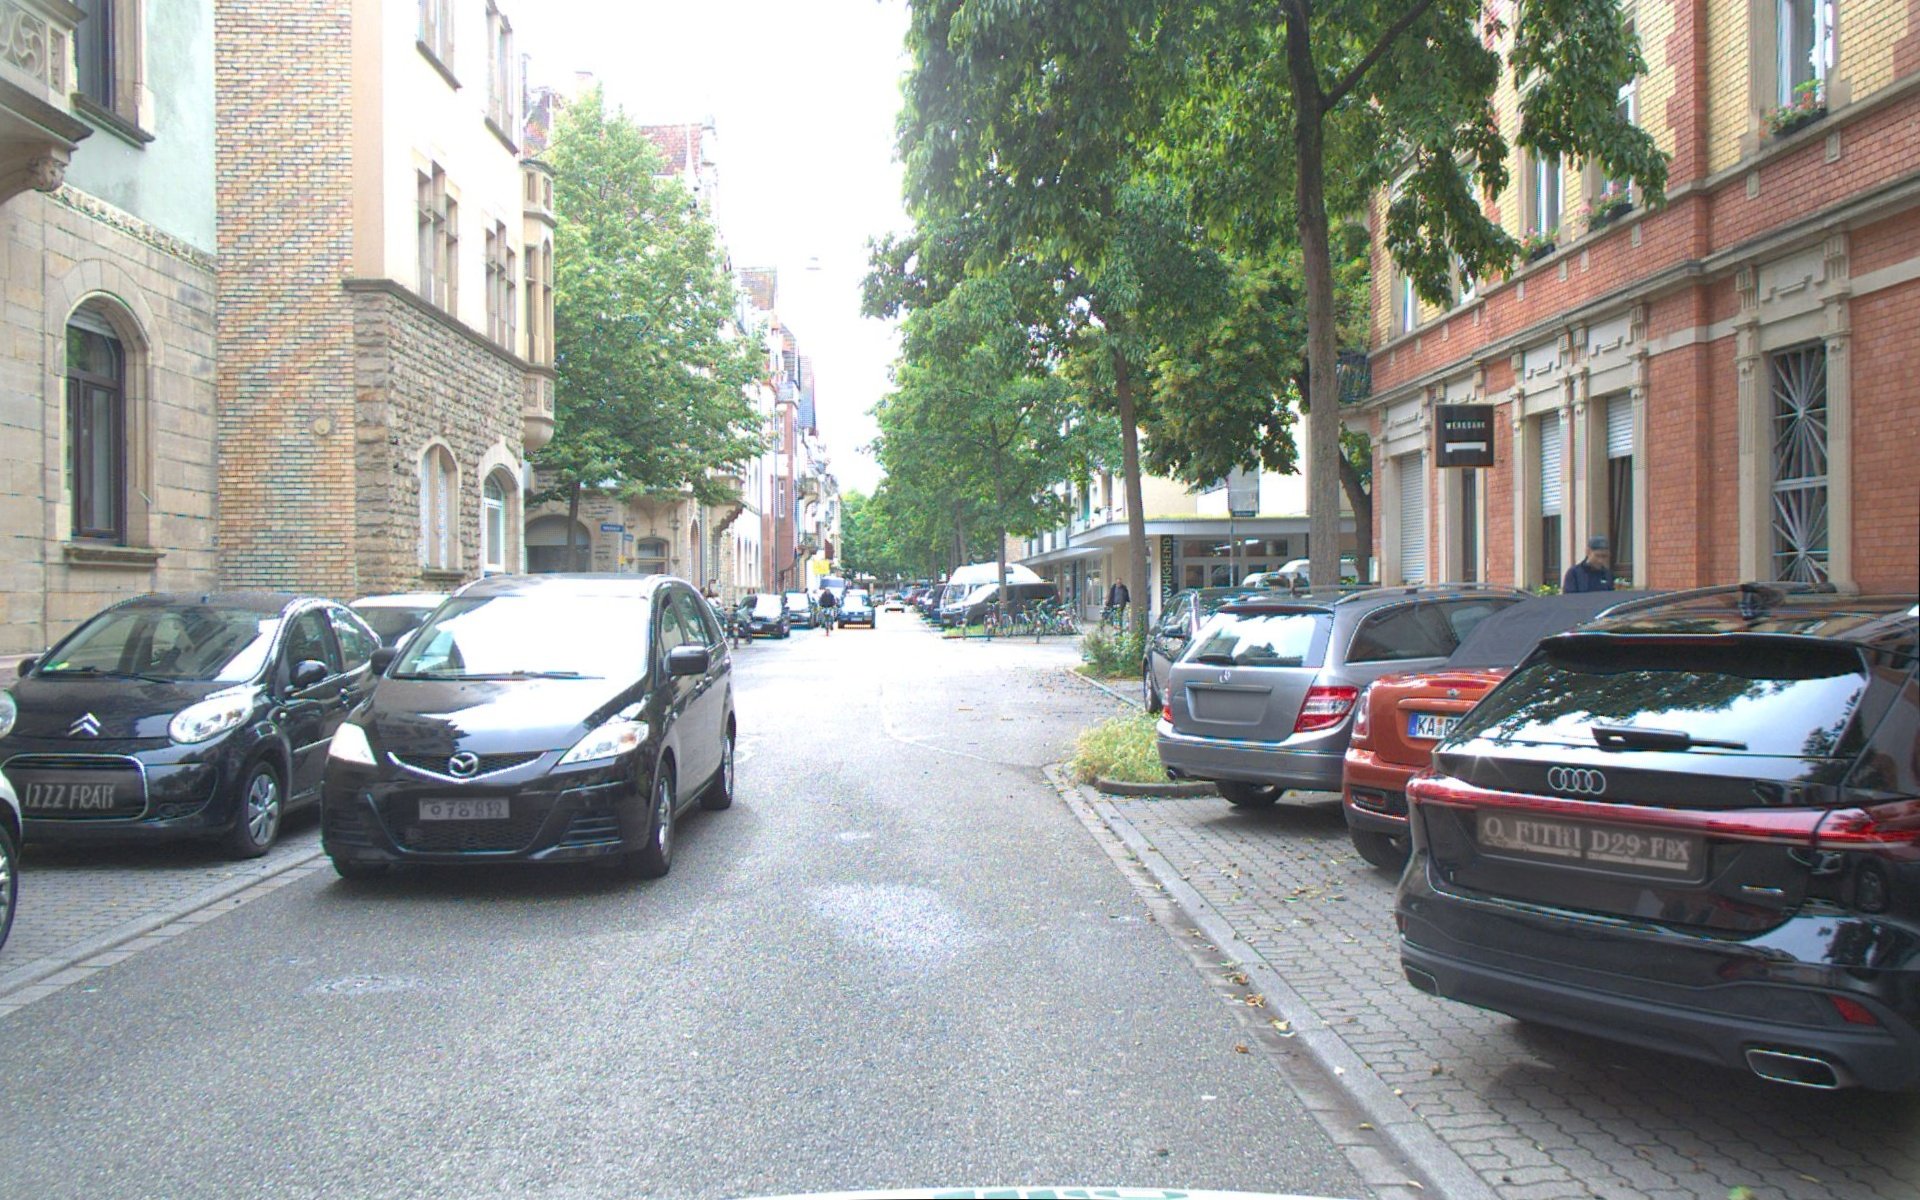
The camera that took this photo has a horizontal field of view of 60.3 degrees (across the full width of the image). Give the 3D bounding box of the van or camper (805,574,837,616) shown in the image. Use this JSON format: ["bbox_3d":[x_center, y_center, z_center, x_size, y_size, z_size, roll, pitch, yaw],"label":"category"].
[{"bbox_3d":[-9.711,-0.384,116.188,1.968,2.697,5.316,1,3,-2],"label":"van or camper"}]

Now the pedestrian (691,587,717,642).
[{"bbox_3d":[-7.838,0.442,50.646,0.603,1.672,0.604,0,0,10],"label":"pedestrian"}]

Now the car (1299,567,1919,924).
[{"bbox_3d":[3.753,0.599,8.819,3.844,1.461,1.723,-2,0,-38],"label":"car"}]

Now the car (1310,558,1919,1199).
[{"bbox_3d":[3.038,0.621,5.332,3.650,1.492,1.685,-1,0,-34],"label":"car"}]

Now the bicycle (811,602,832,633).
[{"bbox_3d":[-5.012,0.640,60.038,0.621,1.113,1.799,-1,-1,0],"label":"bicycle"}]

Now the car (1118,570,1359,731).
[{"bbox_3d":[2.970,0.487,18.566,1.729,1.512,4.477,-2,0,-2],"label":"car"}]

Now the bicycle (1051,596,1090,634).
[{"bbox_3d":[3.524,0.472,52.840,0.541,1.194,1.685,-1,0,-24],"label":"bicycle"}]

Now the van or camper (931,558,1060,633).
[{"bbox_3d":[1.342,-0.181,61.249,4.544,2.641,1.887,-1,0,-35],"label":"van or camper"}]

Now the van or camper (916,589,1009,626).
[{"bbox_3d":[0.169,0.419,95.463,4.954,1.902,2.105,-2,0,-30],"label":"van or camper"}]

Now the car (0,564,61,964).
[{"bbox_3d":[-4.363,0.639,5.032,1.634,1.537,3.549,0,0,-7],"label":"car"}]

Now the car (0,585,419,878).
[{"bbox_3d":[-4.583,0.654,10.114,1.486,1.459,3.454,1,1,-2],"label":"car"}]

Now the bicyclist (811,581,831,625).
[{"bbox_3d":[-5.039,0.107,60.154,0.634,1.565,0.677,-1,0,0],"label":"bicyclist"}]

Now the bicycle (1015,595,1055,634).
[{"bbox_3d":[2.363,0.441,52.111,0.541,1.194,1.716,-1,0,-24],"label":"bicycle"}]

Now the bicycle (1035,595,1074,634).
[{"bbox_3d":[2.985,0.456,52.427,0.541,1.194,1.716,-1,0,-24],"label":"bicycle"}]

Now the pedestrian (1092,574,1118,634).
[{"bbox_3d":[4.421,0.123,50.436,0.763,1.828,0.509,0,0,-1],"label":"pedestrian"}]

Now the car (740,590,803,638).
[{"bbox_3d":[-6.276,0.474,55.383,1.674,1.521,3.999,1,-1,-1],"label":"car"}]

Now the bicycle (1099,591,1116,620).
[{"bbox_3d":[5.827,0.210,65.396,0.475,1.109,1.700,-1,0,0],"label":"bicycle"}]

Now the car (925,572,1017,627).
[{"bbox_3d":[0.494,-0.032,69.913,2.021,2.235,4.392,-1,0,29],"label":"car"}]

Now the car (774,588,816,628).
[{"bbox_3d":[-6.971,0.334,70.016,1.614,1.598,2.955,1,1,-3],"label":"car"}]

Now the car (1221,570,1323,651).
[{"bbox_3d":[7.566,0.226,40.405,1.734,1.851,4.000,-1,0,0],"label":"car"}]

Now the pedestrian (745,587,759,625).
[{"bbox_3d":[-8.567,0.254,68.079,0.505,1.545,0.546,-1,0,-2],"label":"pedestrian"}]

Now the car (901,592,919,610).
[{"bbox_3d":[-6.063,0.066,199.544,1.954,2.049,3.998,2,0,-3],"label":"car"}]

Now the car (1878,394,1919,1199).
[{"bbox_3d":[3.330,0.485,2.494,3.413,1.590,1.773,0,0,-25],"label":"car"}]

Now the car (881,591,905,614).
[{"bbox_3d":[-5.636,0.210,140.023,1.953,1.825,3.998,1,-1,-2],"label":"car"}]

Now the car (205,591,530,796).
[{"bbox_3d":[-4.837,0.680,14.035,1.558,1.459,3.807,1,1,-3],"label":"car"}]

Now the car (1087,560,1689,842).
[{"bbox_3d":[3.060,0.551,11.296,4.404,1.452,1.733,-3,0,-40],"label":"car"}]

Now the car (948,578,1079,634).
[{"bbox_3d":[1.904,0.200,58.802,4.282,1.886,1.894,-1,0,-28],"label":"car"}]

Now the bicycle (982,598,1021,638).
[{"bbox_3d":[1.285,0.541,51.275,0.541,1.194,1.716,-1,0,-24],"label":"bicycle"}]

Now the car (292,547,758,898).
[{"bbox_3d":[-2.335,0.615,10.011,1.773,1.659,4.206,0,-1,-1],"label":"car"}]

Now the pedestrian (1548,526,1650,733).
[{"bbox_3d":[5.612,0.250,14.555,0.585,1.763,0.663,-1,0,-4],"label":"pedestrian"}]

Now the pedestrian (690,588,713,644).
[{"bbox_3d":[-7.806,0.492,49.946,0.516,1.672,0.529,1,0,10],"label":"pedestrian"}]

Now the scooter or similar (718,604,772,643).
[{"bbox_3d":[-6.518,0.712,50.176,1.438,1.123,0.676,2,0,9],"label":"scooter or similar"}]

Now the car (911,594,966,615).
[{"bbox_3d":[-1.651,0.376,129.245,3.974,1.587,1.863,0,0,-33],"label":"car"}]

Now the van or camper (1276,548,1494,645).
[{"bbox_3d":[11.820,-0.121,46.307,5.649,2.537,2.138,-1,3,4],"label":"van or camper"}]

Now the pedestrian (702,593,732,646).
[{"bbox_3d":[-7.574,0.608,51.539,0.619,1.621,0.666,0,0,39],"label":"pedestrian"}]

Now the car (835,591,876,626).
[{"bbox_3d":[-4.635,0.395,73.466,1.674,1.438,3.851,-1,-1,-2],"label":"car"}]
